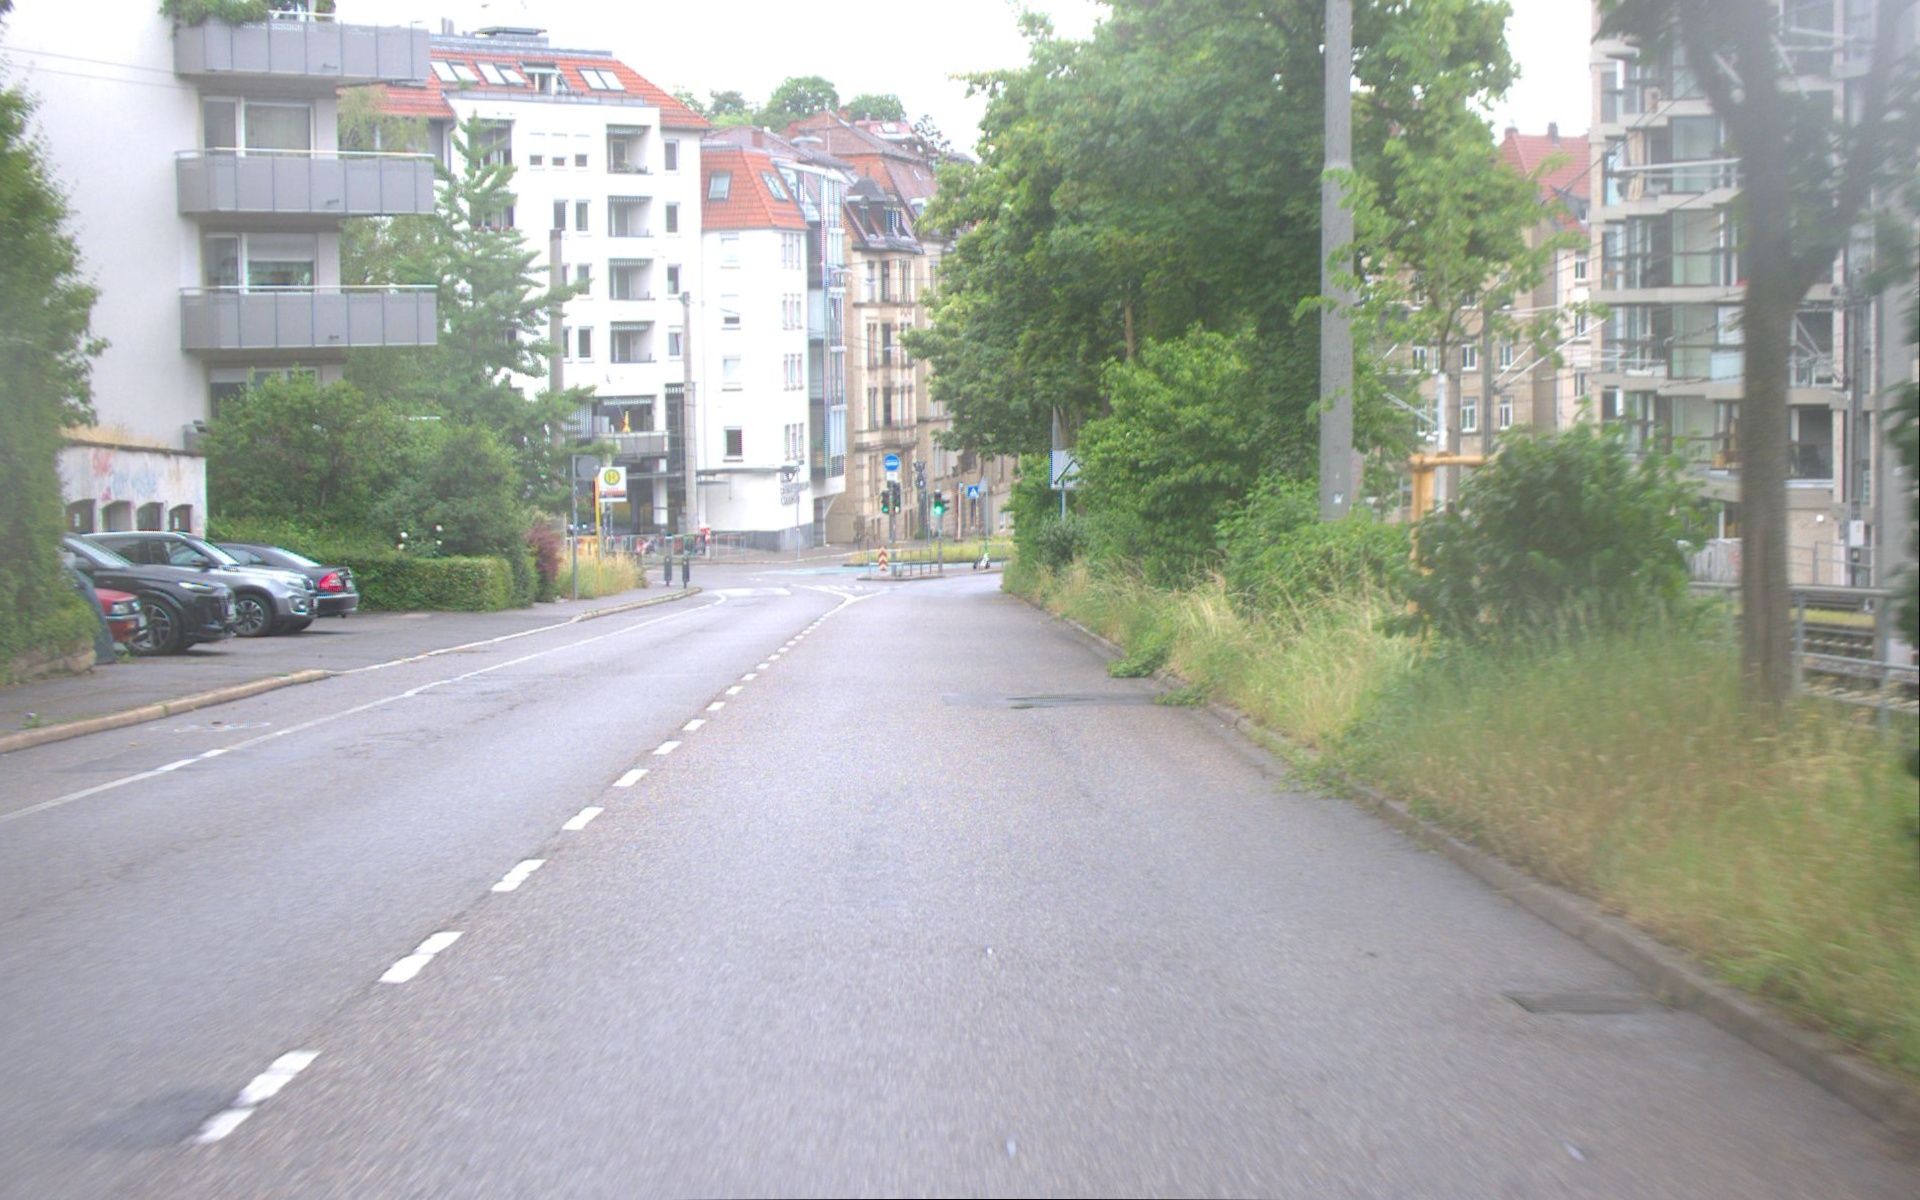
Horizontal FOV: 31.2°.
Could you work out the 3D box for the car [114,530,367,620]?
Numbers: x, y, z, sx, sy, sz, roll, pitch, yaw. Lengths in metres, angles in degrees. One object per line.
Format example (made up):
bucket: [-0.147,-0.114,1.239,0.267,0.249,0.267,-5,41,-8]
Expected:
car: [-11.410,-0.399,54.664,3.631,1.402,1.783,0,0,1]

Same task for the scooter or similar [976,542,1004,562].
scooter or similar: [1.129,-1.801,128.729,0.485,0.759,1.328,0,1,27]

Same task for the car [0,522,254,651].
car: [-11.519,-0.194,44.395,4.449,1.597,1.814,0,2,-1]

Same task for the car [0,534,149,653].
car: [-11.714,-0.088,41.378,3.630,1.400,1.717,0,0,-7]

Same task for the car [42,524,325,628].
car: [-11.777,-0.363,52.349,3.986,1.554,1.880,0,0,-5]
